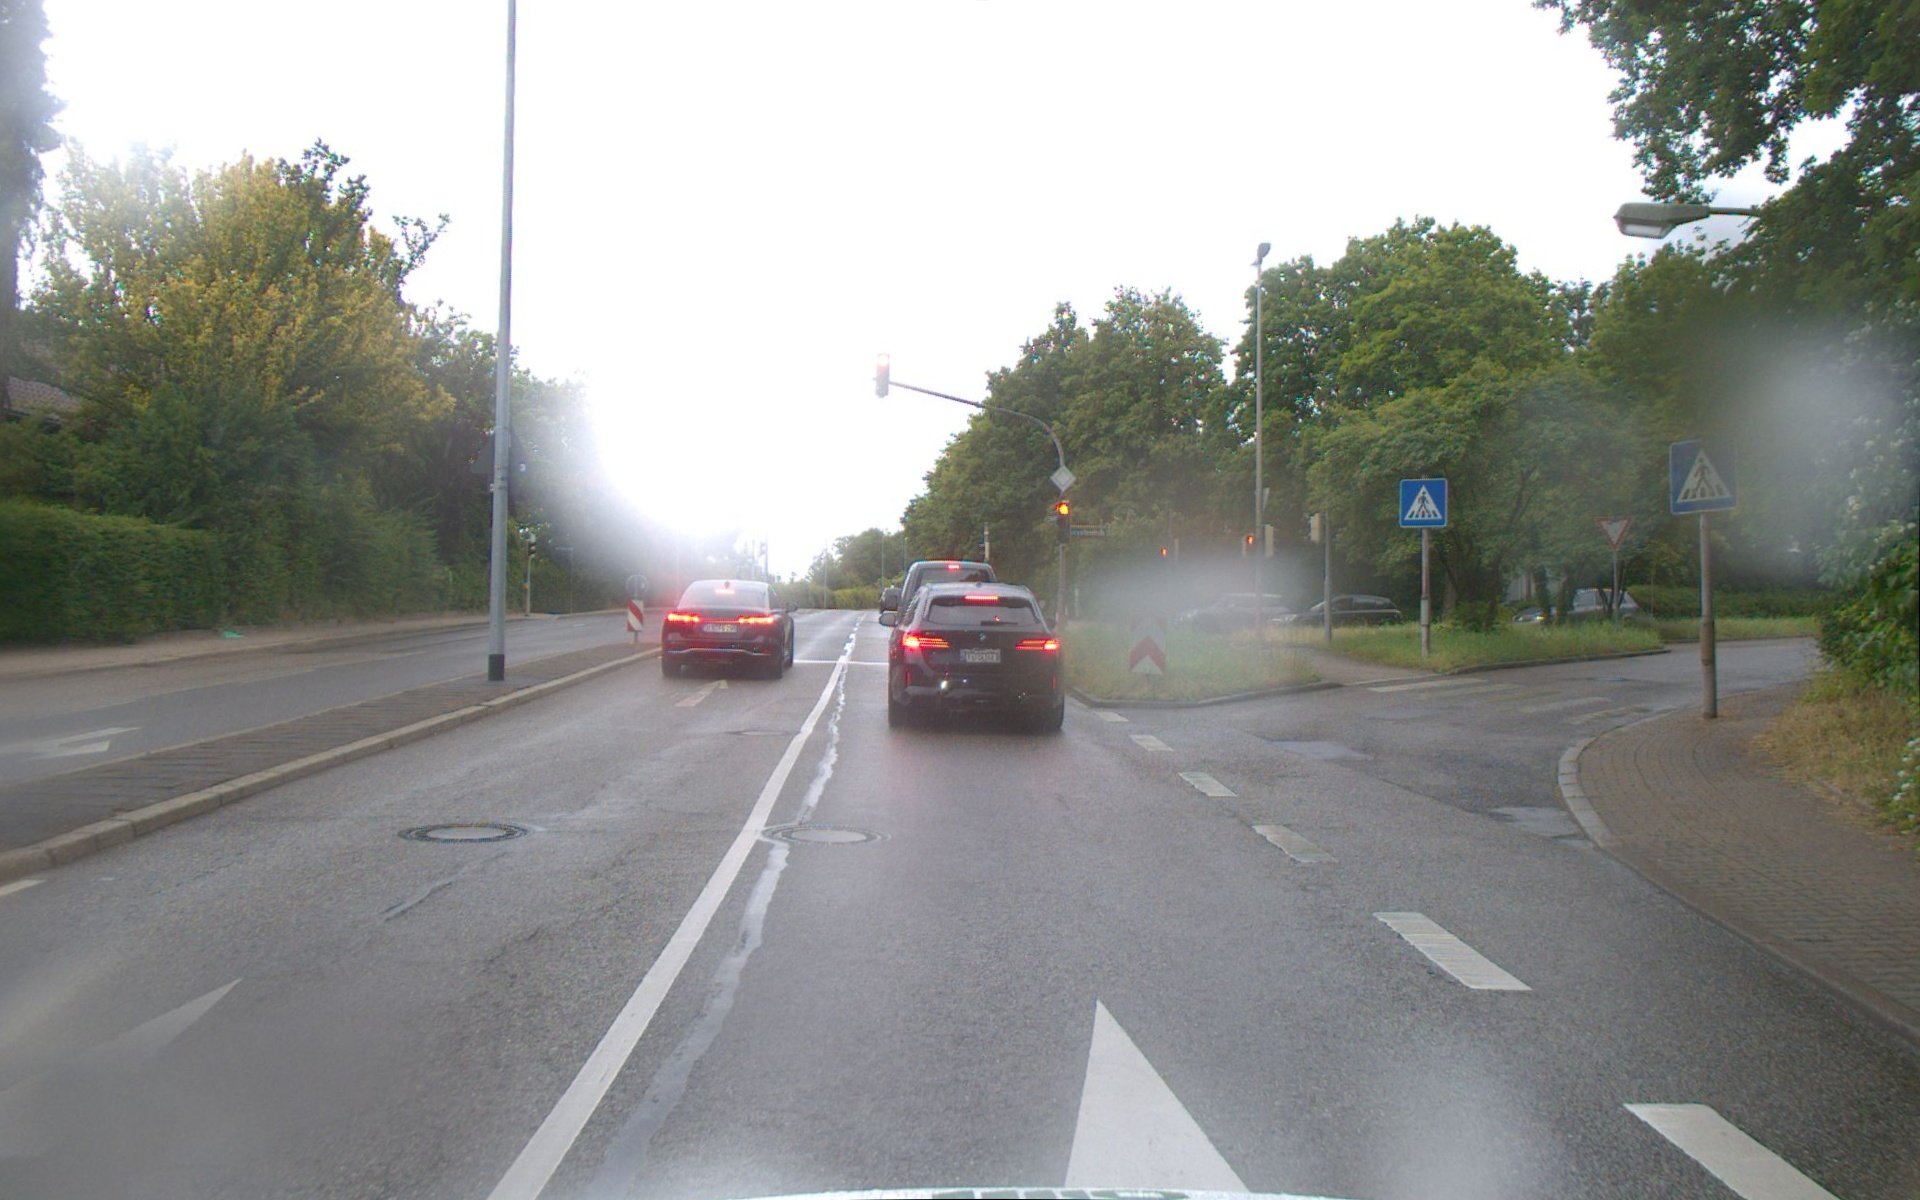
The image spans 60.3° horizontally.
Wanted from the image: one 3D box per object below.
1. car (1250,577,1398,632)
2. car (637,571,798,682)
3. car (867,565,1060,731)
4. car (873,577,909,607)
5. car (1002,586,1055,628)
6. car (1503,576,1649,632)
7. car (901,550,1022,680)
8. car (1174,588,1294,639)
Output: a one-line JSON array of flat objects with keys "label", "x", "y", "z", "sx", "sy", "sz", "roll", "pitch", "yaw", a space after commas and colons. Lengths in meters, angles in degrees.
[{"label": "car", "x": 10.880, "y": 0.146, "z": 49.595, "sx": 3.912, "sy": 1.536, "sz": 1.898, "roll": -1, "pitch": -2, "yaw": -9}, {"label": "car", "x": -3.694, "y": 0.372, "z": 25.964, "sx": 1.953, "sy": 1.554, "sz": 4.326, "roll": -1, "pitch": 0, "yaw": -1}, {"label": "car", "x": 0.103, "y": 0.492, "z": 18.659, "sx": 1.859, "sy": 1.578, "sz": 4.615, "roll": 2, "pitch": 0, "yaw": 2}, {"label": "car", "x": -3.936, "y": -0.477, "z": 95.342, "sx": 1.953, "sy": 1.652, "sz": 3.951, "roll": -1, "pitch": 0, "yaw": -1}, {"label": "car", "x": 2.691, "y": 0.271, "z": 66.019, "sx": 1.835, "sy": 1.569, "sz": 3.951, "roll": -1, "pitch": 0, "yaw": -1}, {"label": "car", "x": 19.193, "y": 0.103, "z": 51.603, "sx": 3.947, "sy": 1.630, "sz": 1.743, "roll": -1, "pitch": 1, "yaw": -11}, {"label": "car", "x": -0.017, "y": 0.221, "z": 26.854, "sx": 1.781, "sy": 1.901, "sz": 3.951, "roll": 2, "pitch": 0, "yaw": -1}, {"label": "car", "x": 8.733, "y": 0.442, "z": 52.868, "sx": 3.433, "sy": 1.452, "sz": 1.701, "roll": -2, "pitch": -2, "yaw": -5}]
